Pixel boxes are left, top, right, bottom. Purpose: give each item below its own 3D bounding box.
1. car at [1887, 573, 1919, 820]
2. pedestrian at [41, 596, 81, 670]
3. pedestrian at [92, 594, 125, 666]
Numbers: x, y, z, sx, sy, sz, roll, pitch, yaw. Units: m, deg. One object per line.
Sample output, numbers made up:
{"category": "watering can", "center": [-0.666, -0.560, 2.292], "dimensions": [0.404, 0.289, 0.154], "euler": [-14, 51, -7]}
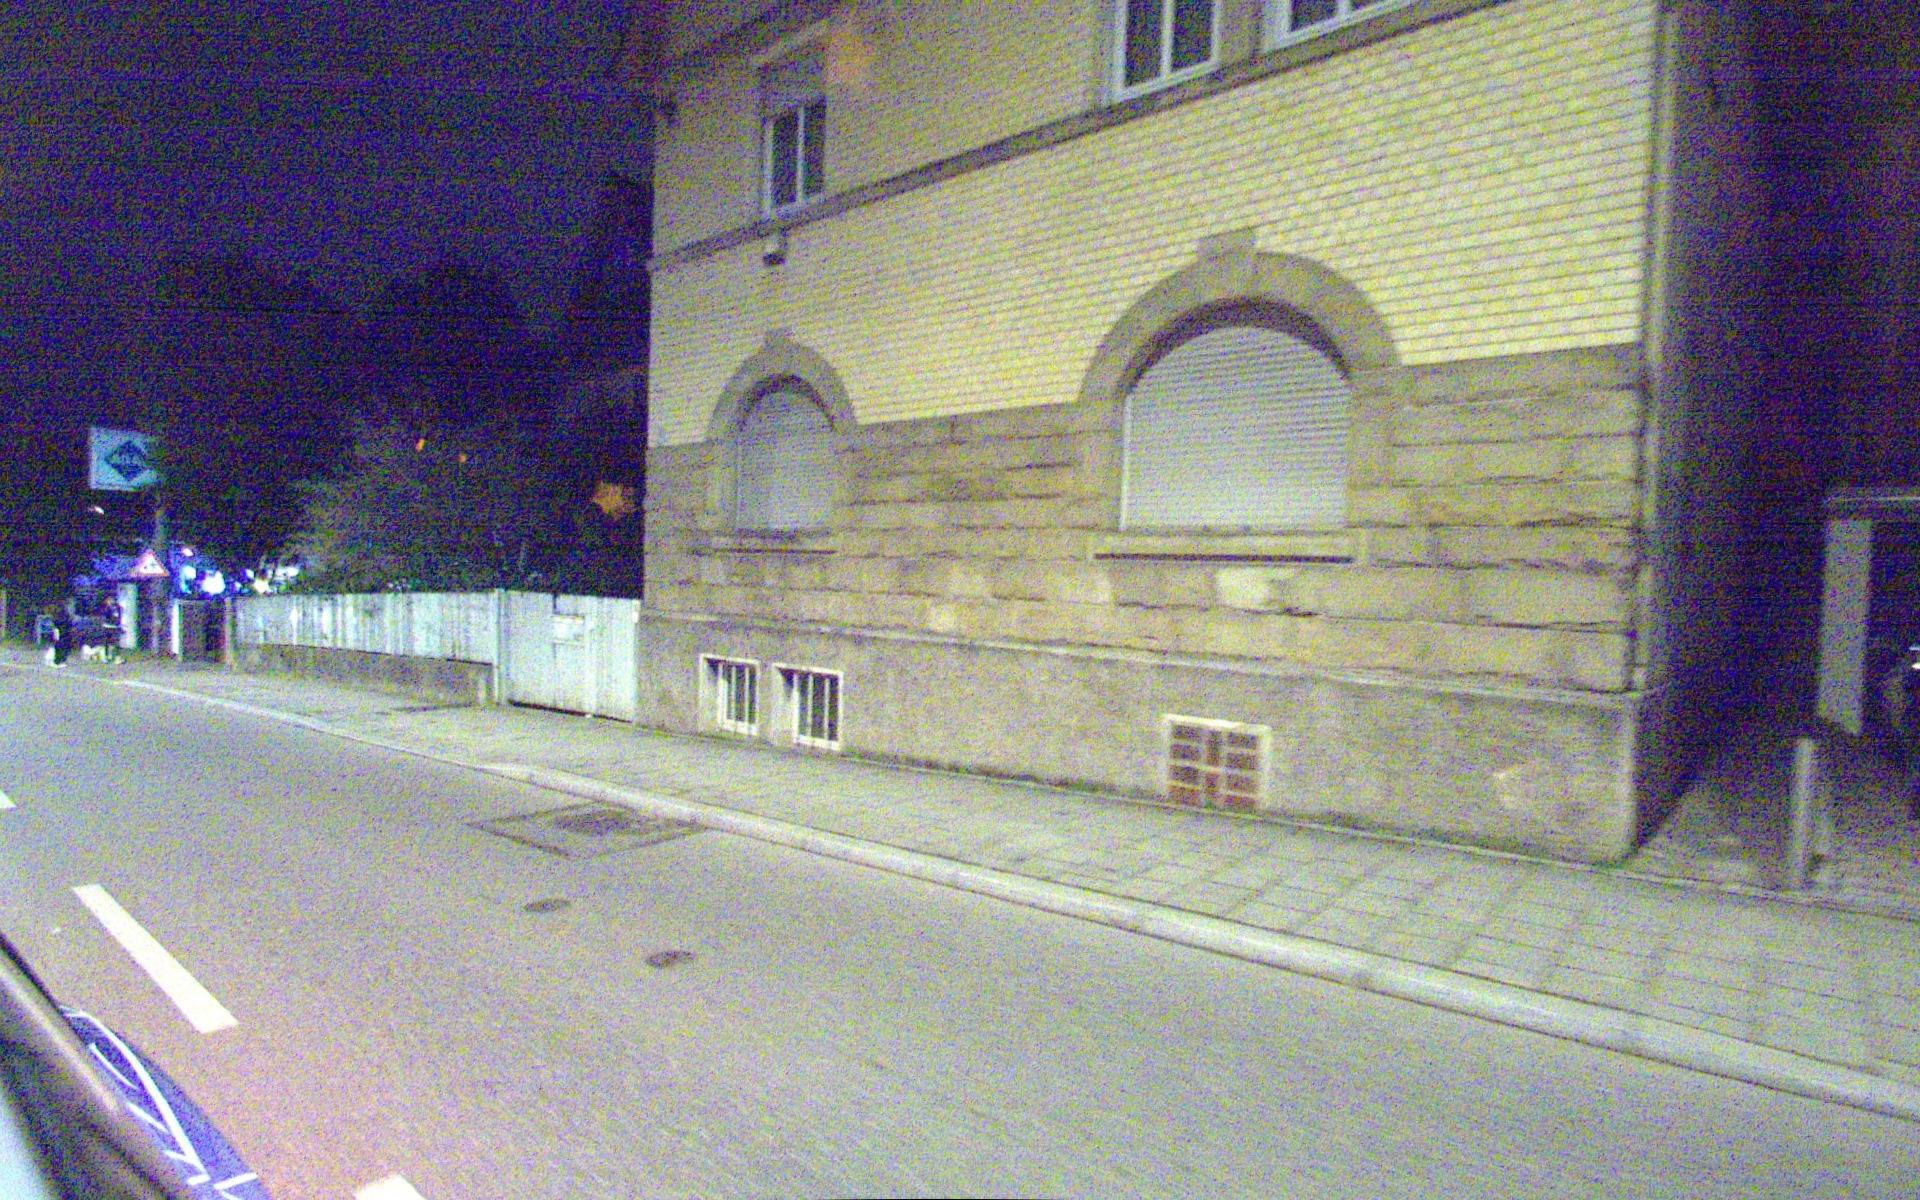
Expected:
{"category": "car", "center": [7.089, 0.543, 6.341], "dimensions": [1.718, 1.452, 3.612], "euler": [0, 1, 40]}
{"category": "pedestrian", "center": [-22.042, 0.795, 24.810], "dimensions": [0.500, 1.773, 0.664], "euler": [0, 0, 41]}
{"category": "pedestrian", "center": [-21.259, 0.728, 25.269], "dimensions": [0.500, 1.773, 0.557], "euler": [0, 0, 41]}
